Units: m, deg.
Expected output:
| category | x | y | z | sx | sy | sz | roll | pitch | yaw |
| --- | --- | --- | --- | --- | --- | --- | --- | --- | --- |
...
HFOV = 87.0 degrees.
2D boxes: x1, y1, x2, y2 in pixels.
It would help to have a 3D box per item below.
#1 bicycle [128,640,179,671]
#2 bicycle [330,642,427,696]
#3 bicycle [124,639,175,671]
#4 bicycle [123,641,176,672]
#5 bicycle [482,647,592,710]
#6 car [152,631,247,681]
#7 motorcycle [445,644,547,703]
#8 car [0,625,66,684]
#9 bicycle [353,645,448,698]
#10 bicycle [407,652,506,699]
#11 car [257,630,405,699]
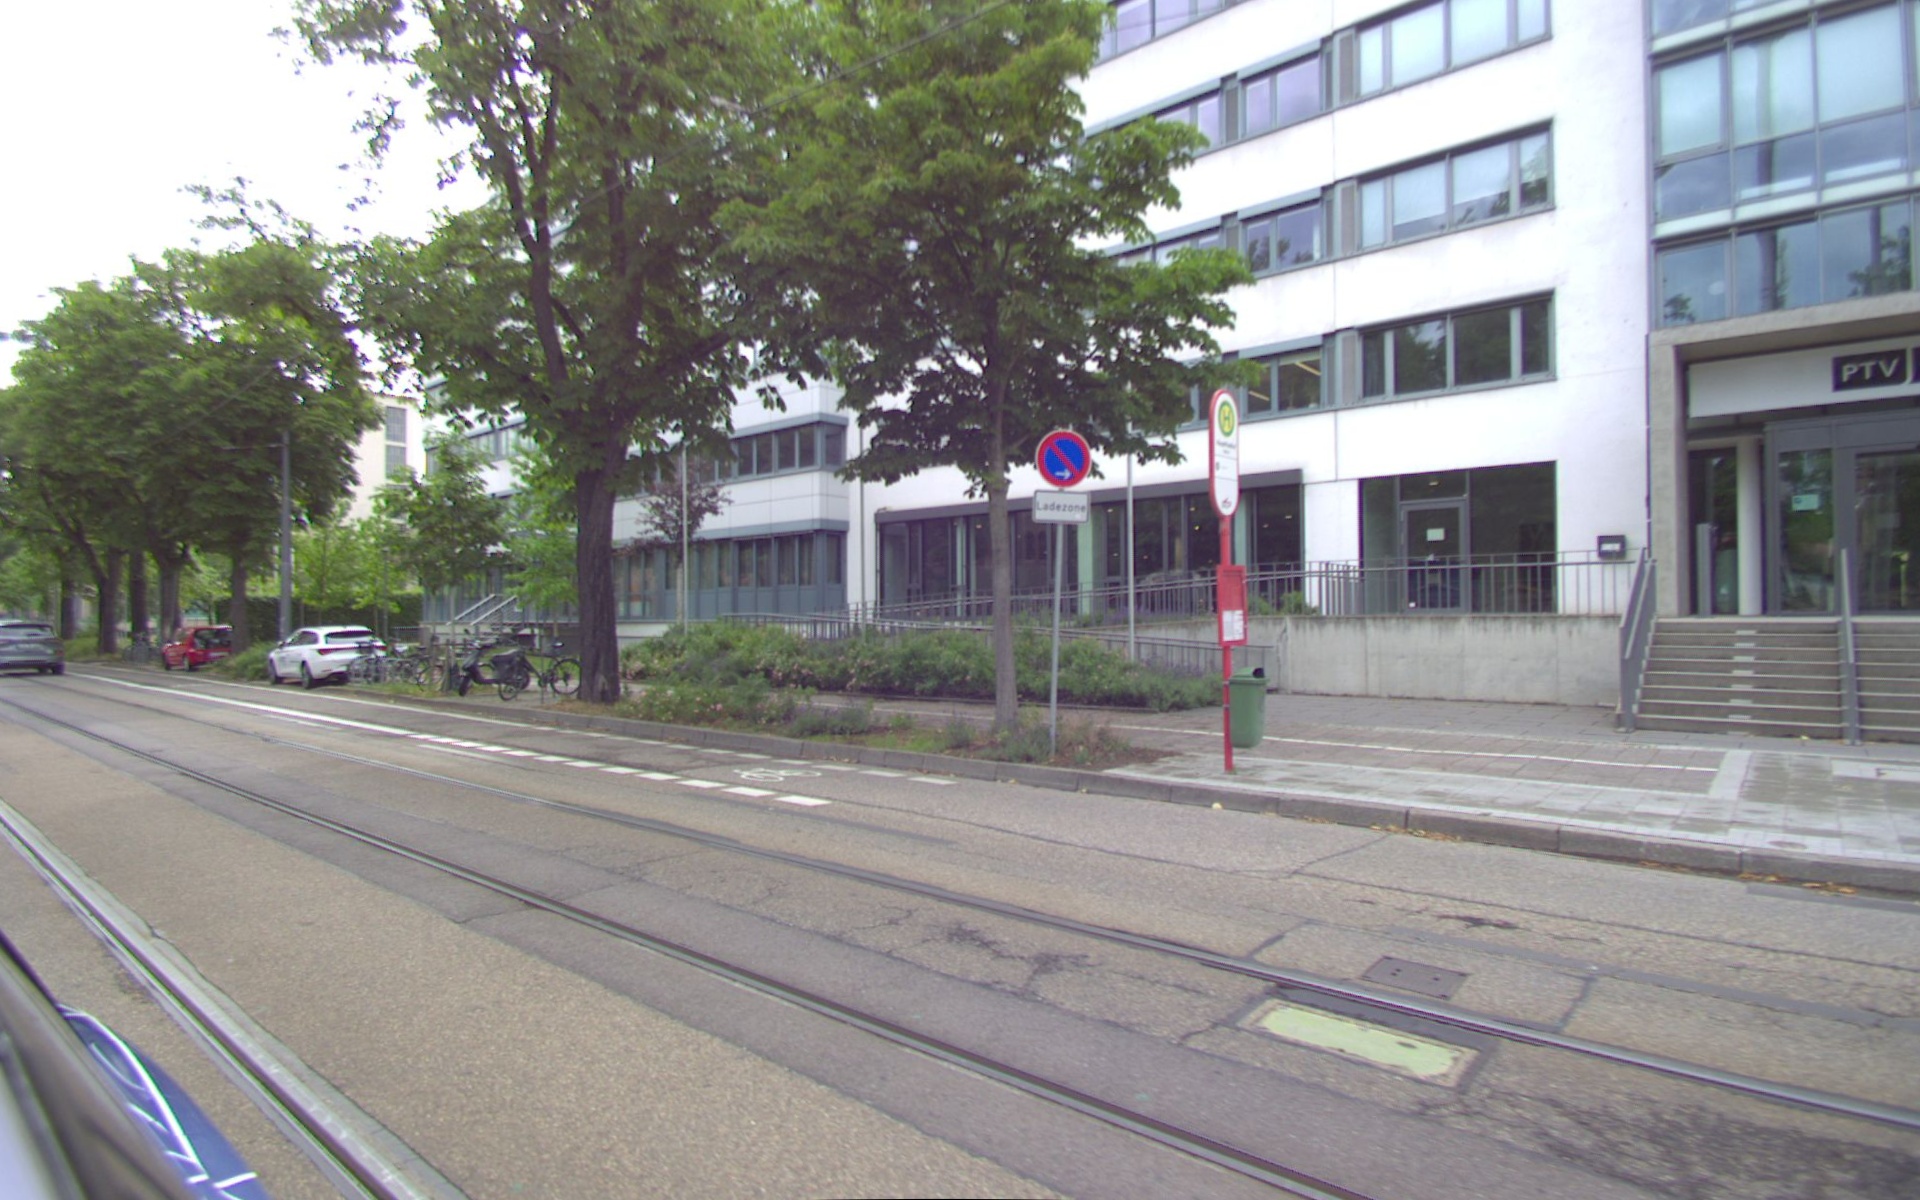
| category | x | y | z | sx | sy | sz | roll | pitch | yaw |
| --- | --- | --- | --- | --- | --- | --- | --- | --- | --- |
| bicycle | -31.570 | 2.147 | 39.641 | 0.617 | 1.149 | 1.454 | -1 | -1 | 39 |
| bicycle | -13.565 | 1.593 | 23.655 | 0.633 | 1.195 | 1.843 | -1 | -3 | 45 |
| bicycle | -31.977 | 2.153 | 39.942 | 0.617 | 1.149 | 1.455 | -1 | 0 | 39 |
| bicycle | -31.023 | 2.161 | 38.737 | 0.614 | 1.100 | 1.460 | -1 | 0 | 28 |
| bicycle | -7.911 | 1.434 | 18.989 | 0.739 | 1.061 | 1.814 | -2 | -1 | 32 |
| car | -25.801 | 1.854 | 34.306 | 3.752 | 1.458 | 1.613 | -1 | 2 | 38 |
| motorcycle | -9.459 | 1.475 | 20.680 | 0.731 | 1.058 | 1.773 | -1 | 0 | 34 |
| car | -28.547 | 1.634 | 30.471 | 4.386 | 1.667 | 1.823 | -2 | -4 | 41 |
| bicycle | -12.692 | 1.600 | 23.002 | 0.631 | 1.108 | 1.790 | 0 | -2 | 34 |
| bicycle | -10.727 | 1.589 | 21.620 | 0.631 | 0.906 | 1.790 | 0 | -2 | 34 |
| car | -15.926 | 1.560 | 25.525 | 4.751 | 1.505 | 1.862 | -2 | 0 | 41 |
